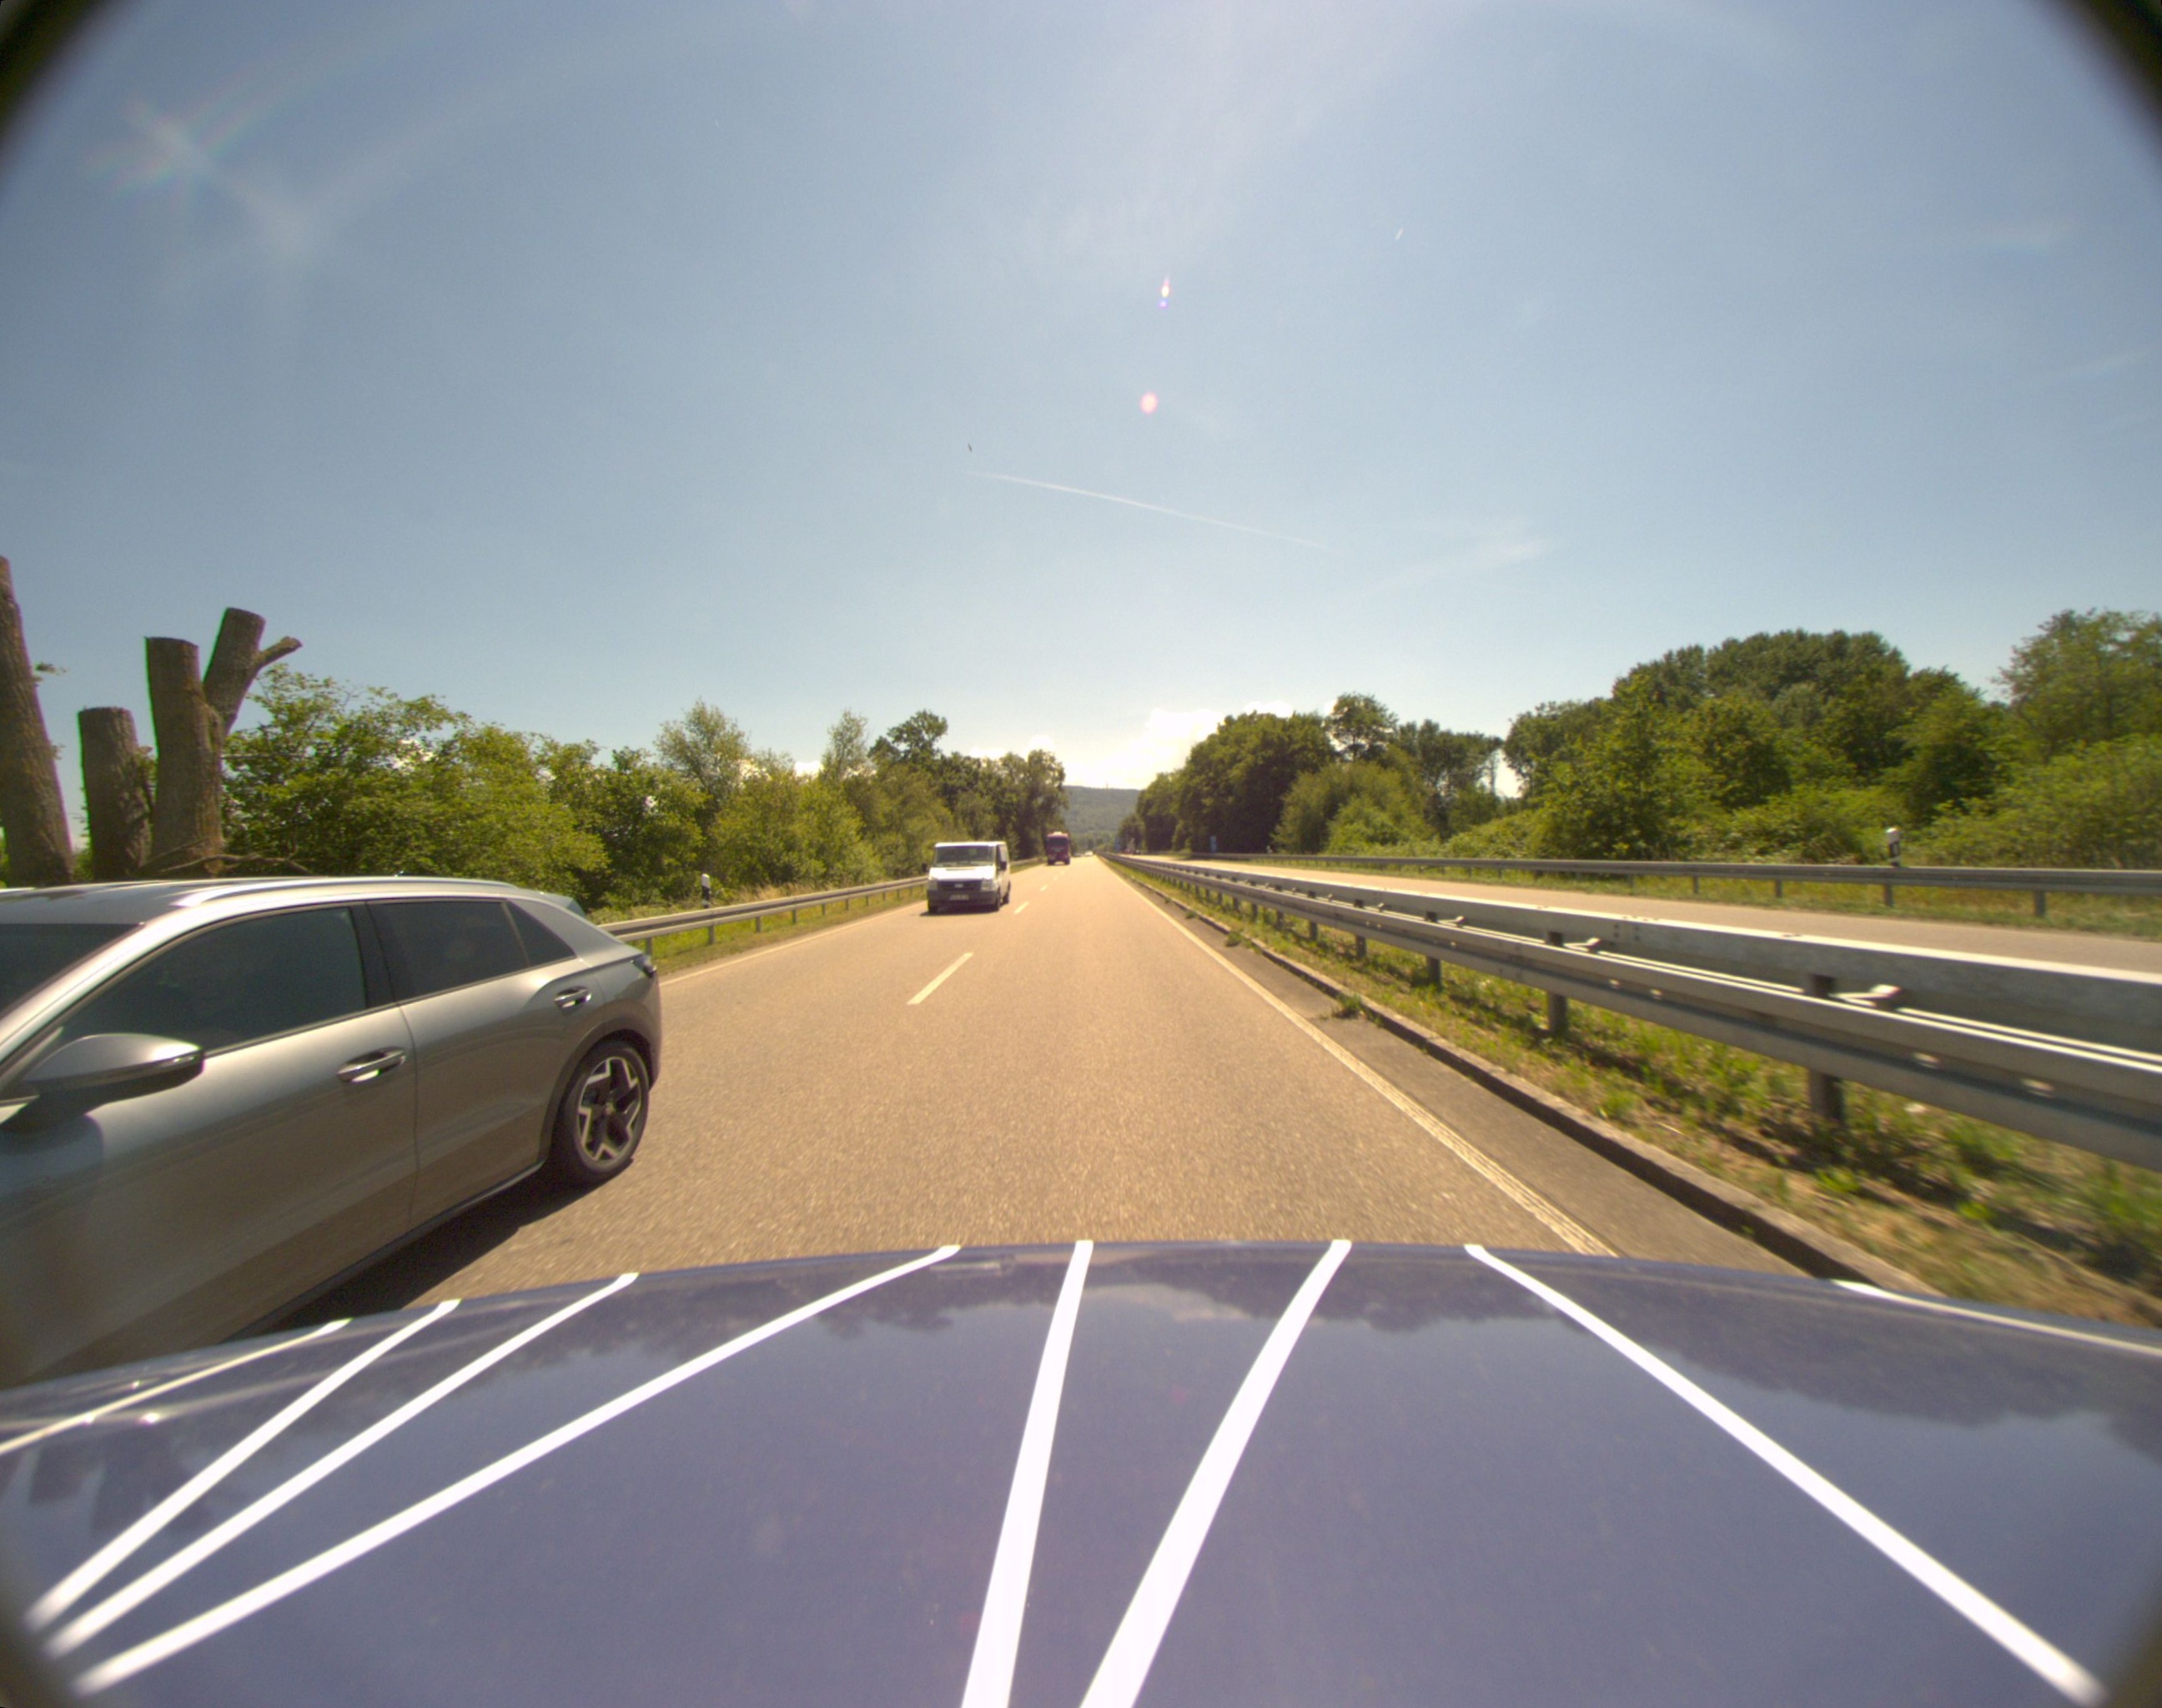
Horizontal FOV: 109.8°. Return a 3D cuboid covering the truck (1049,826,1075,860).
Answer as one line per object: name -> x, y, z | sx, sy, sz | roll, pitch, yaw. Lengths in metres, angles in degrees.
truck -> -2.218, -1.283, 89.619 | 2.605, 3.670, 5.939 | -4, 0, 0

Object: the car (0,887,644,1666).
car -> -3.210, 0.976, 1.983 | 1.790, 1.544, 4.019 | -2, 0, 0

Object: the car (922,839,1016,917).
car -> -3.186, 0.642, 22.675 | 2.011, 1.977, 5.034 | -3, 0, -1

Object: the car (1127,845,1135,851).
car -> 13.429, -1.673, 204.447 | 1.780, 1.411, 4.575 | -3, 1, 2

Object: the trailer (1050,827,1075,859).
trailer -> -2.201, -1.257, 94.003 | 2.605, 3.608, 8.614 | -4, 0, 0

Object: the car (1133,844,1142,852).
car -> 12.392, -1.336, 166.189 | 1.802, 1.459, 3.773 | -3, 1, 1
